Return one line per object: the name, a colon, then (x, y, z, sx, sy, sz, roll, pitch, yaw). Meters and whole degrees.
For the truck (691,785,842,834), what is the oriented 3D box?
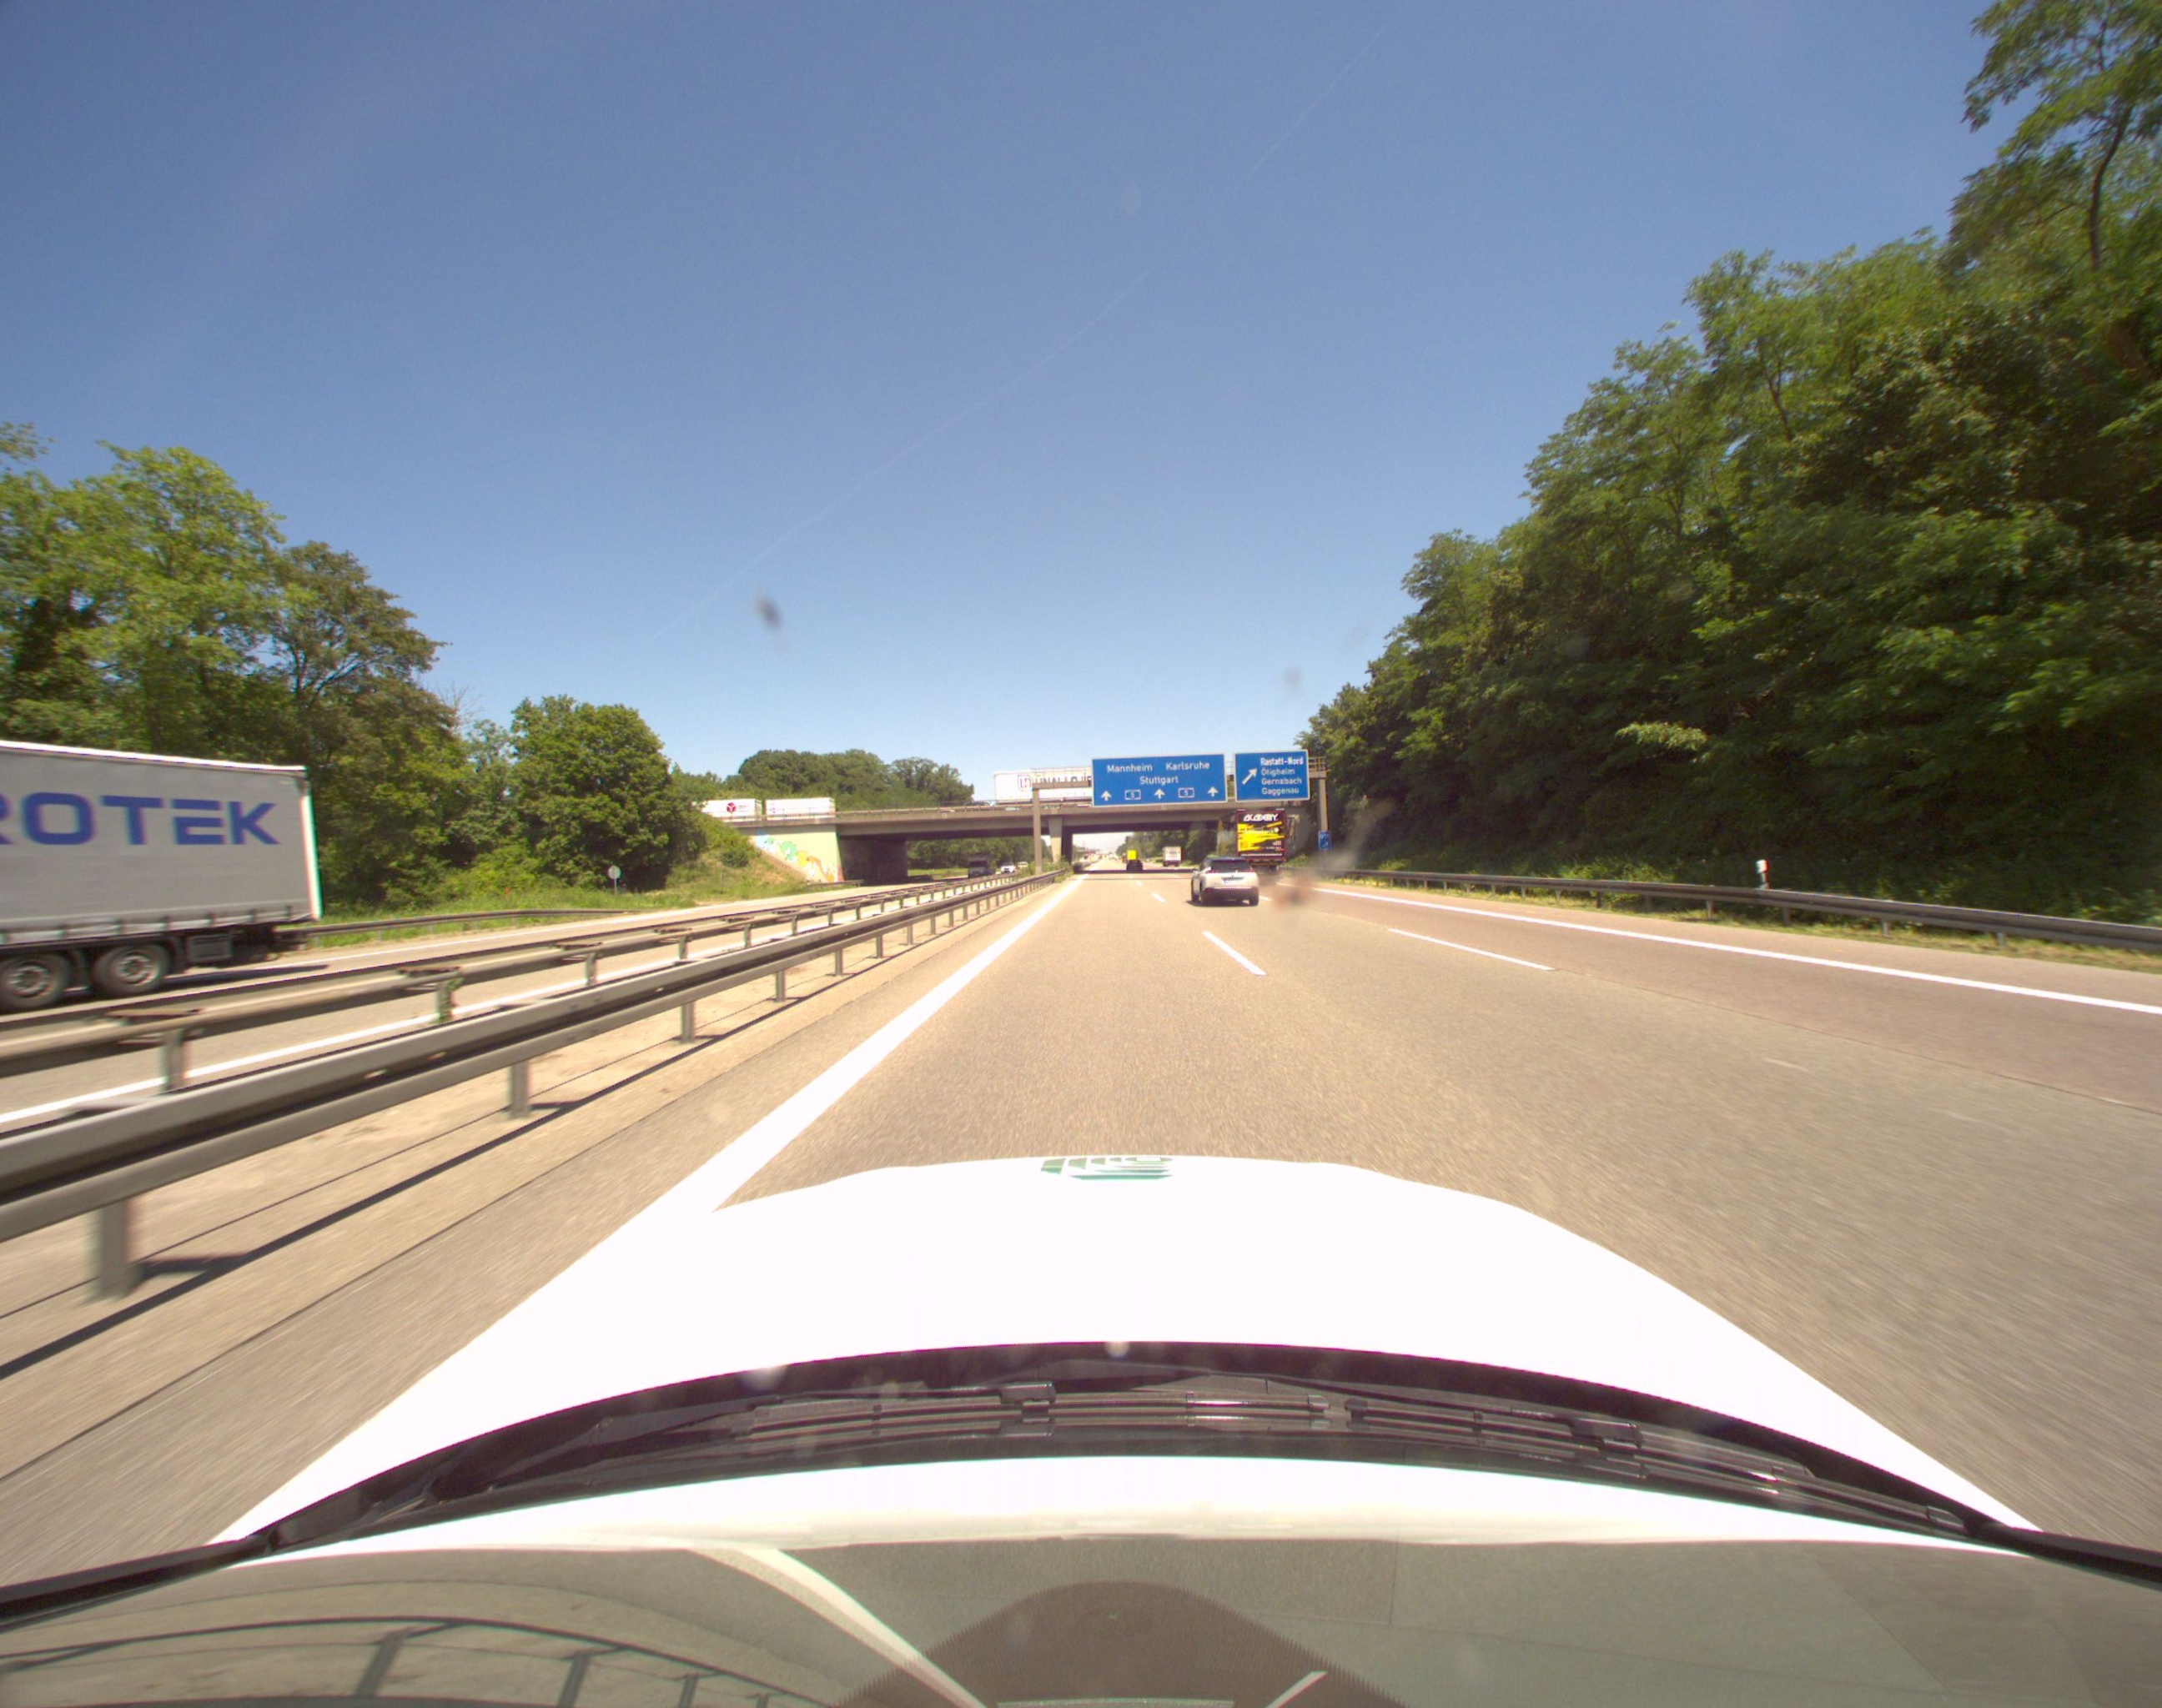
truck: (-37.359, -5.343, 97.362, 16.438, 5.566, 3.168, -1, -1, -6)

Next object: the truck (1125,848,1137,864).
truck: (15.825, 0.739, 259.430, 3.363, 4.881, 15.095, -1, -1, 3)

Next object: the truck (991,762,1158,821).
truck: (-0.659, -6.287, 82.155, 16.425, 5.566, 3.171, -1, -1, -4)

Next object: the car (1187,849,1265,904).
car: (4.671, 0.700, 26.866, 1.820, 1.608, 4.810, -1, -1, 1)

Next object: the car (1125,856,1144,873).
car: (5.805, 1.145, 88.644, 1.820, 1.706, 4.001, -1, -1, 1)

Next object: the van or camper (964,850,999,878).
van or camper: (-10.637, 1.078, 87.660, 2.582, 2.907, 7.236, -1, -1, 2)

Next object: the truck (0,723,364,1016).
truck: (-17.174, 0.309, 10.503, 3.055, 4.251, 13.963, -4, -1, 1)

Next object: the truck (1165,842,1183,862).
truck: (16.066, -0.271, 140.774, 3.013, 3.319, 10.788, -1, -1, 6)

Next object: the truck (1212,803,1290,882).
truck: (9.557, -0.547, 47.012, 2.962, 4.037, 10.992, 0, -1, 4)

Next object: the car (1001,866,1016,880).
car: (-9.877, 2.629, 111.154, 1.685, 1.816, 4.714, -1, -1, 0)
